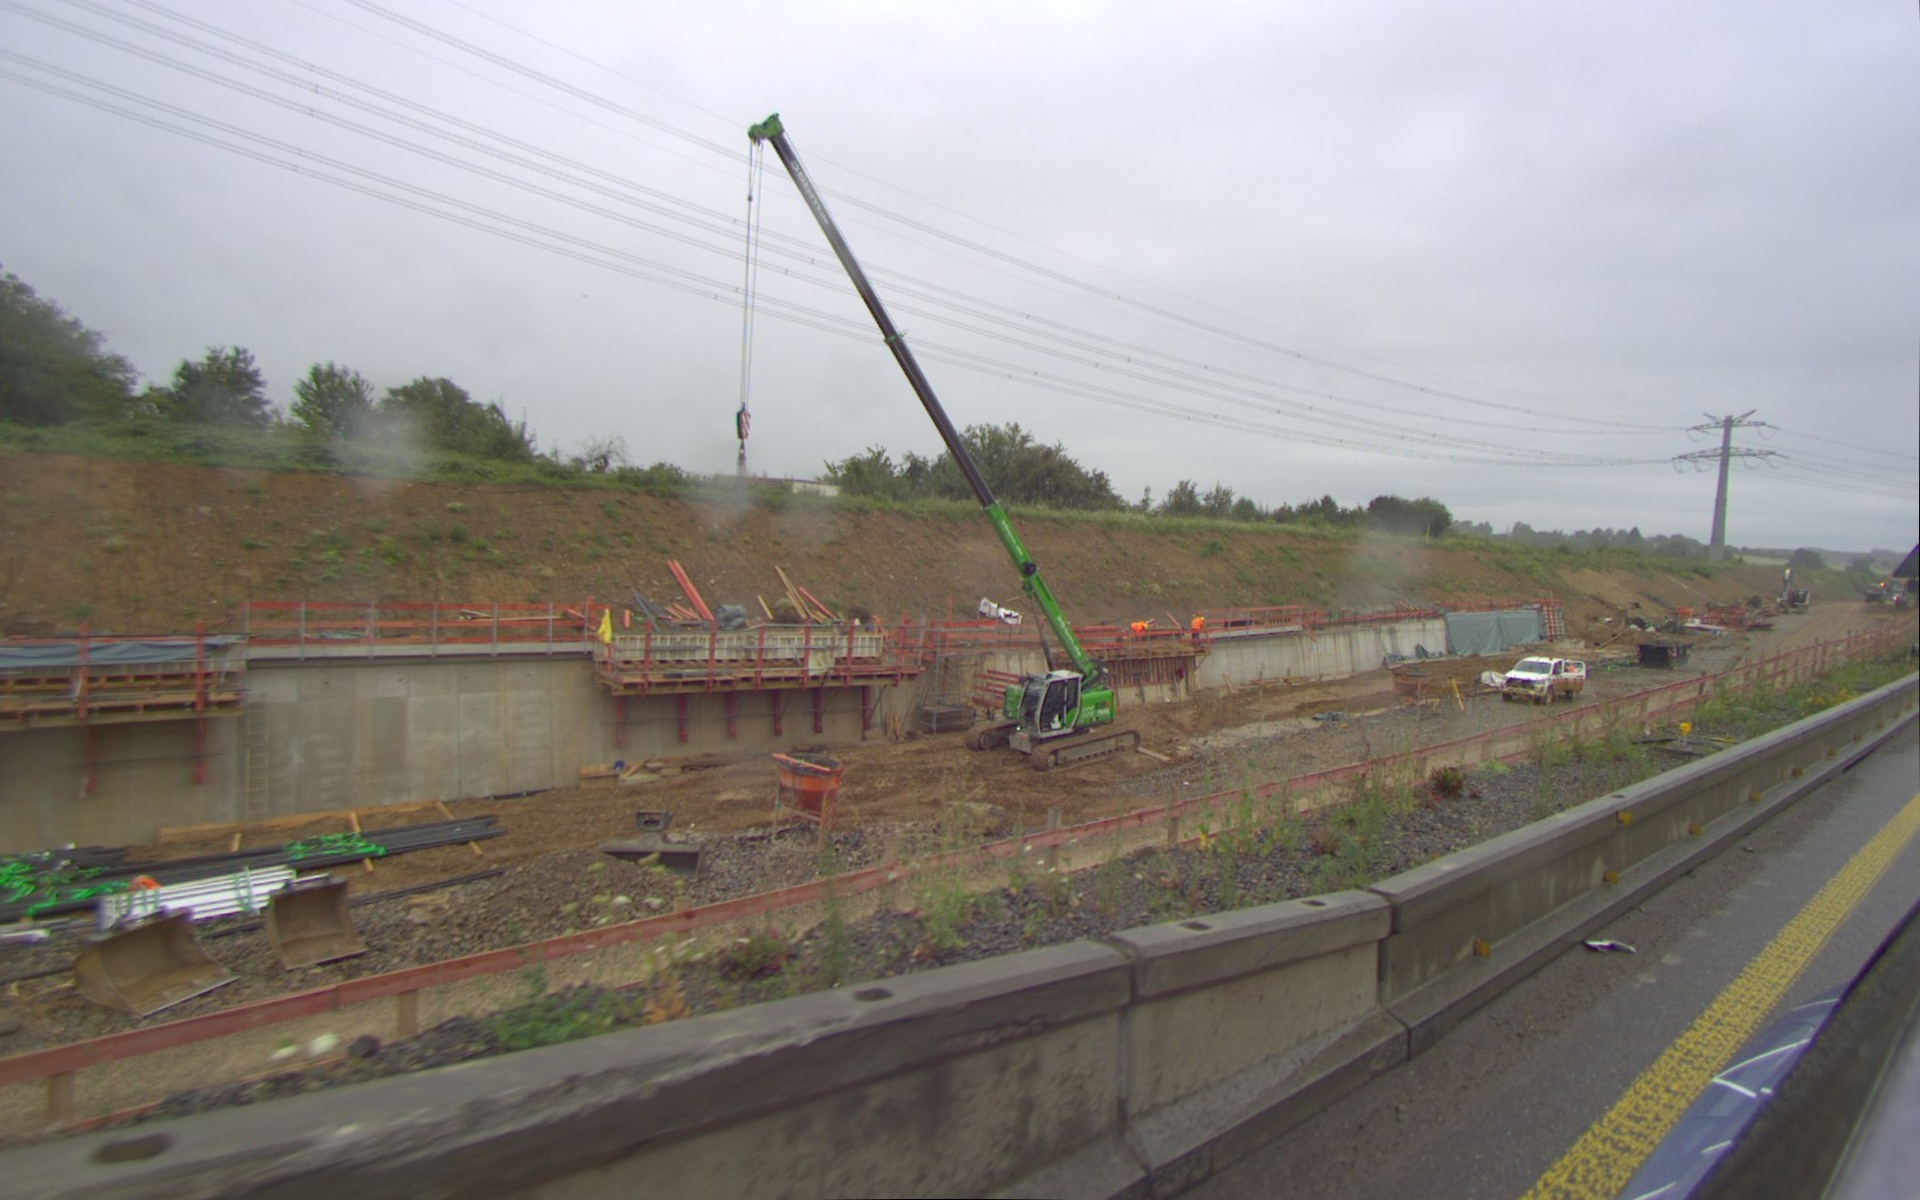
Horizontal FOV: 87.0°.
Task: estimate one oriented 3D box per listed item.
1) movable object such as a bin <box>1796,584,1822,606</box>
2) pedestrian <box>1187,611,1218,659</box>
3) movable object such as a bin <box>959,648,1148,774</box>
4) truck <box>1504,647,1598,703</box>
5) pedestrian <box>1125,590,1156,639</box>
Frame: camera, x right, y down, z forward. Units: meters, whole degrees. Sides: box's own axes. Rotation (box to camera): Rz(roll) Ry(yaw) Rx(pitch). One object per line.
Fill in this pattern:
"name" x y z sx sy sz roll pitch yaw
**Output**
"movable object such as a bin" 111.829 -0.658 133.339 3.935 2.753 2.247 -1 1 -44
"pedestrian" 11.850 1.691 49.397 0.987 2.260 0.917 -2 -3 -37
"movable object such as a bin" 3.058 3.412 32.712 4.776 2.836 3.799 -7 6 -41
"truck" 25.922 3.203 44.314 5.686 1.894 1.766 -1 3 -41
"pedestrian" 8.661 0.710 48.600 0.989 2.275 0.915 -1 -3 -44
